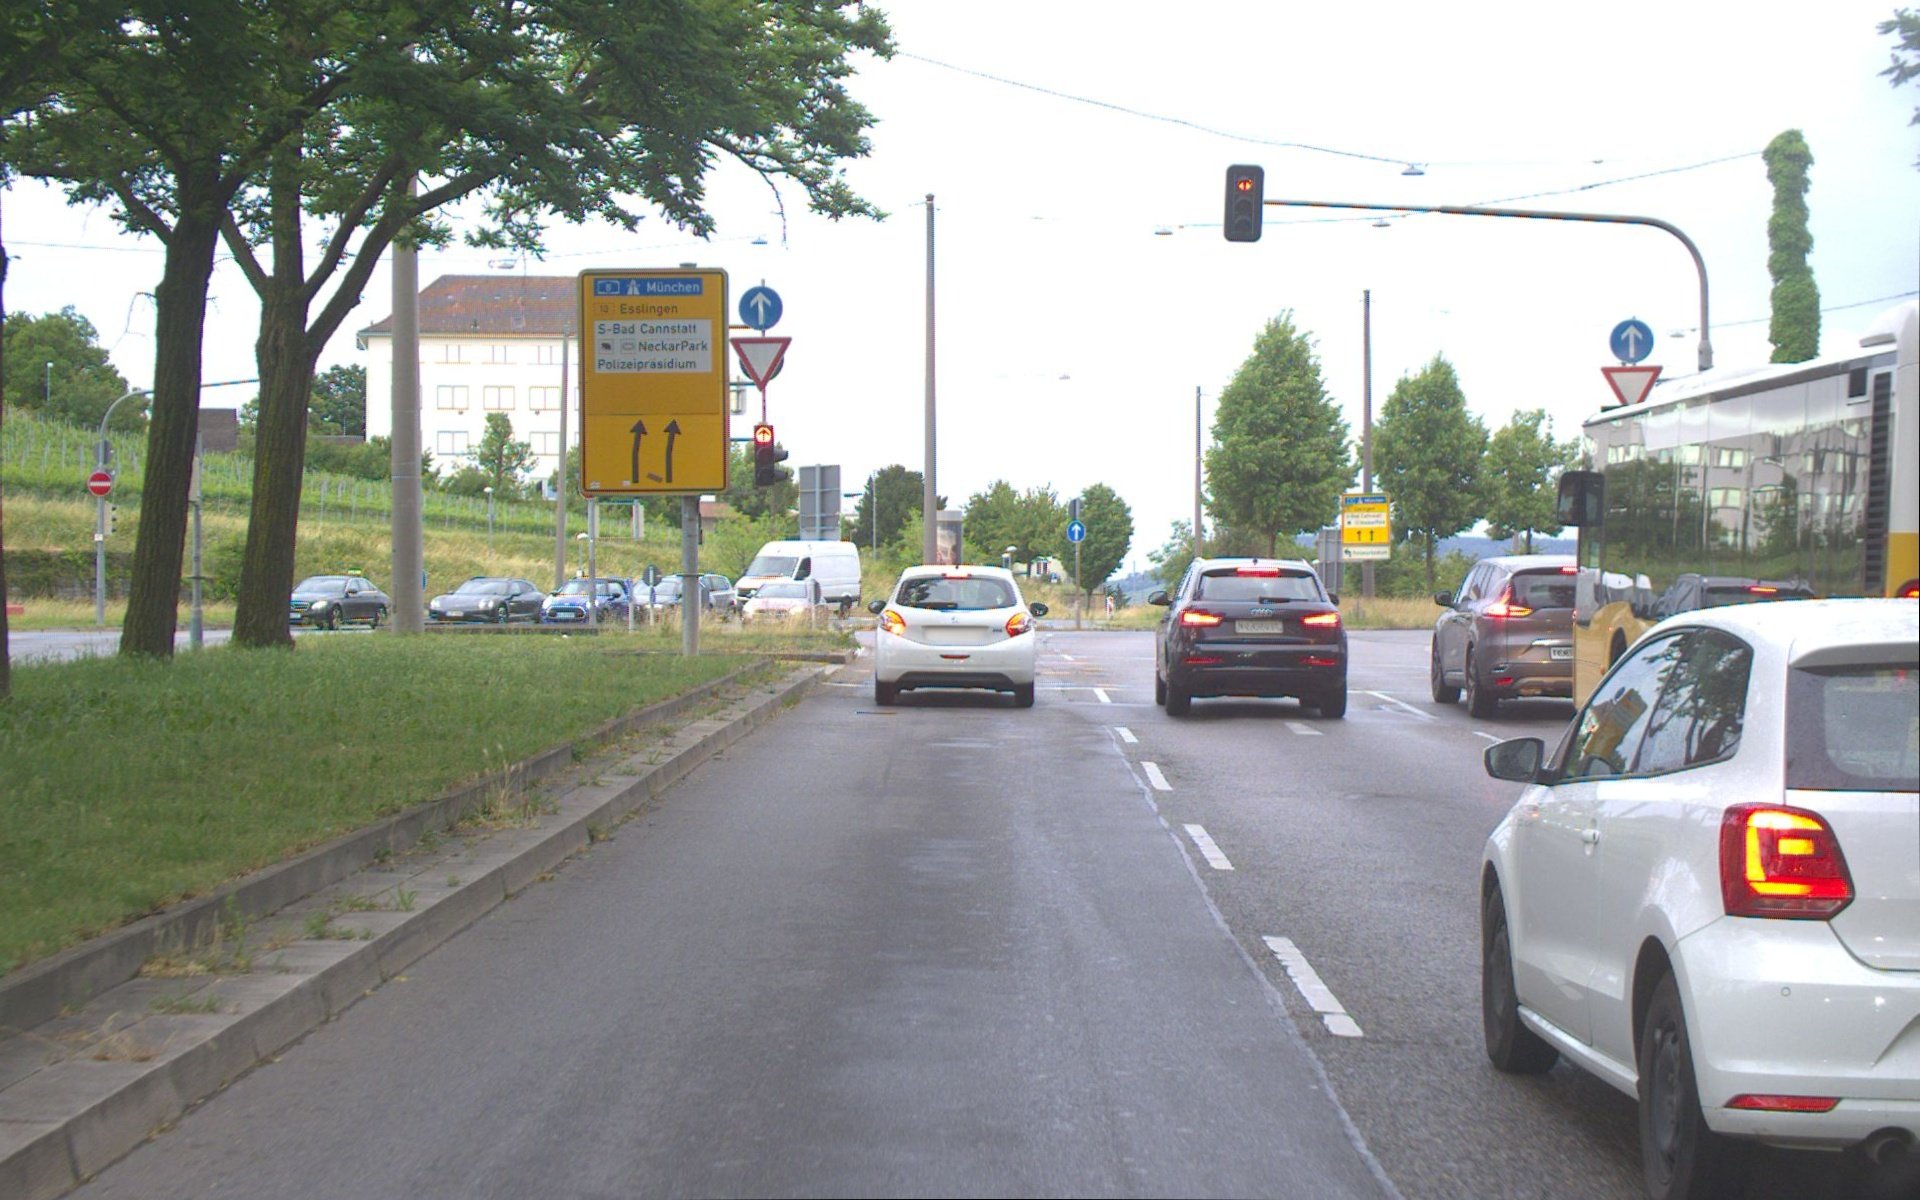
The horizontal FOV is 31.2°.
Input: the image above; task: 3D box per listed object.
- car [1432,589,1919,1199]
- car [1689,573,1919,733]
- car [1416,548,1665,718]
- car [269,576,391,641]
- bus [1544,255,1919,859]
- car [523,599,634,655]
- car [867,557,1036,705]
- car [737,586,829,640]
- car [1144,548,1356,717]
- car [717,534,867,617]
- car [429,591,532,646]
[{"bbox_3d":[2.397,0.727,8.988,1.741,1.427,3.812,2,0,0],"label":"car"},{"bbox_3d":[8.721,0.542,35.215,1.867,1.493,4.147,2,0,20],"label":"car"},{"bbox_3d":[6.077,0.291,36.487,1.865,1.668,4.565,1,1,0],"label":"car"},{"bbox_3d":[-16.804,0.241,91.915,1.830,1.618,4.565,2,0,7],"label":"car"},{"bbox_3d":[6.350,-0.257,23.931,2.727,3.141,12.145,2,1,2],"label":"bus"},{"bbox_3d":[-10.132,0.727,91.553,1.787,1.391,3.879,1,-1,12],"label":"car"},{"bbox_3d":[-0.054,0.326,37.258,1.718,1.484,4.000,1,0,1],"label":"car"},{"bbox_3d":[-4.730,0.367,92.405,1.776,1.420,4.372,0,-1,7],"label":"car"},{"bbox_3d":[2.935,0.328,35.543,1.884,1.590,4.113,2,0,1],"label":"car"},{"bbox_3d":[-5.568,-0.796,114.949,1.997,2.550,6.159,2,0,29],"label":"car"},{"bbox_3d":[-13.042,0.517,93.676,1.787,1.391,3.880,1,-1,7],"label":"car"}]
